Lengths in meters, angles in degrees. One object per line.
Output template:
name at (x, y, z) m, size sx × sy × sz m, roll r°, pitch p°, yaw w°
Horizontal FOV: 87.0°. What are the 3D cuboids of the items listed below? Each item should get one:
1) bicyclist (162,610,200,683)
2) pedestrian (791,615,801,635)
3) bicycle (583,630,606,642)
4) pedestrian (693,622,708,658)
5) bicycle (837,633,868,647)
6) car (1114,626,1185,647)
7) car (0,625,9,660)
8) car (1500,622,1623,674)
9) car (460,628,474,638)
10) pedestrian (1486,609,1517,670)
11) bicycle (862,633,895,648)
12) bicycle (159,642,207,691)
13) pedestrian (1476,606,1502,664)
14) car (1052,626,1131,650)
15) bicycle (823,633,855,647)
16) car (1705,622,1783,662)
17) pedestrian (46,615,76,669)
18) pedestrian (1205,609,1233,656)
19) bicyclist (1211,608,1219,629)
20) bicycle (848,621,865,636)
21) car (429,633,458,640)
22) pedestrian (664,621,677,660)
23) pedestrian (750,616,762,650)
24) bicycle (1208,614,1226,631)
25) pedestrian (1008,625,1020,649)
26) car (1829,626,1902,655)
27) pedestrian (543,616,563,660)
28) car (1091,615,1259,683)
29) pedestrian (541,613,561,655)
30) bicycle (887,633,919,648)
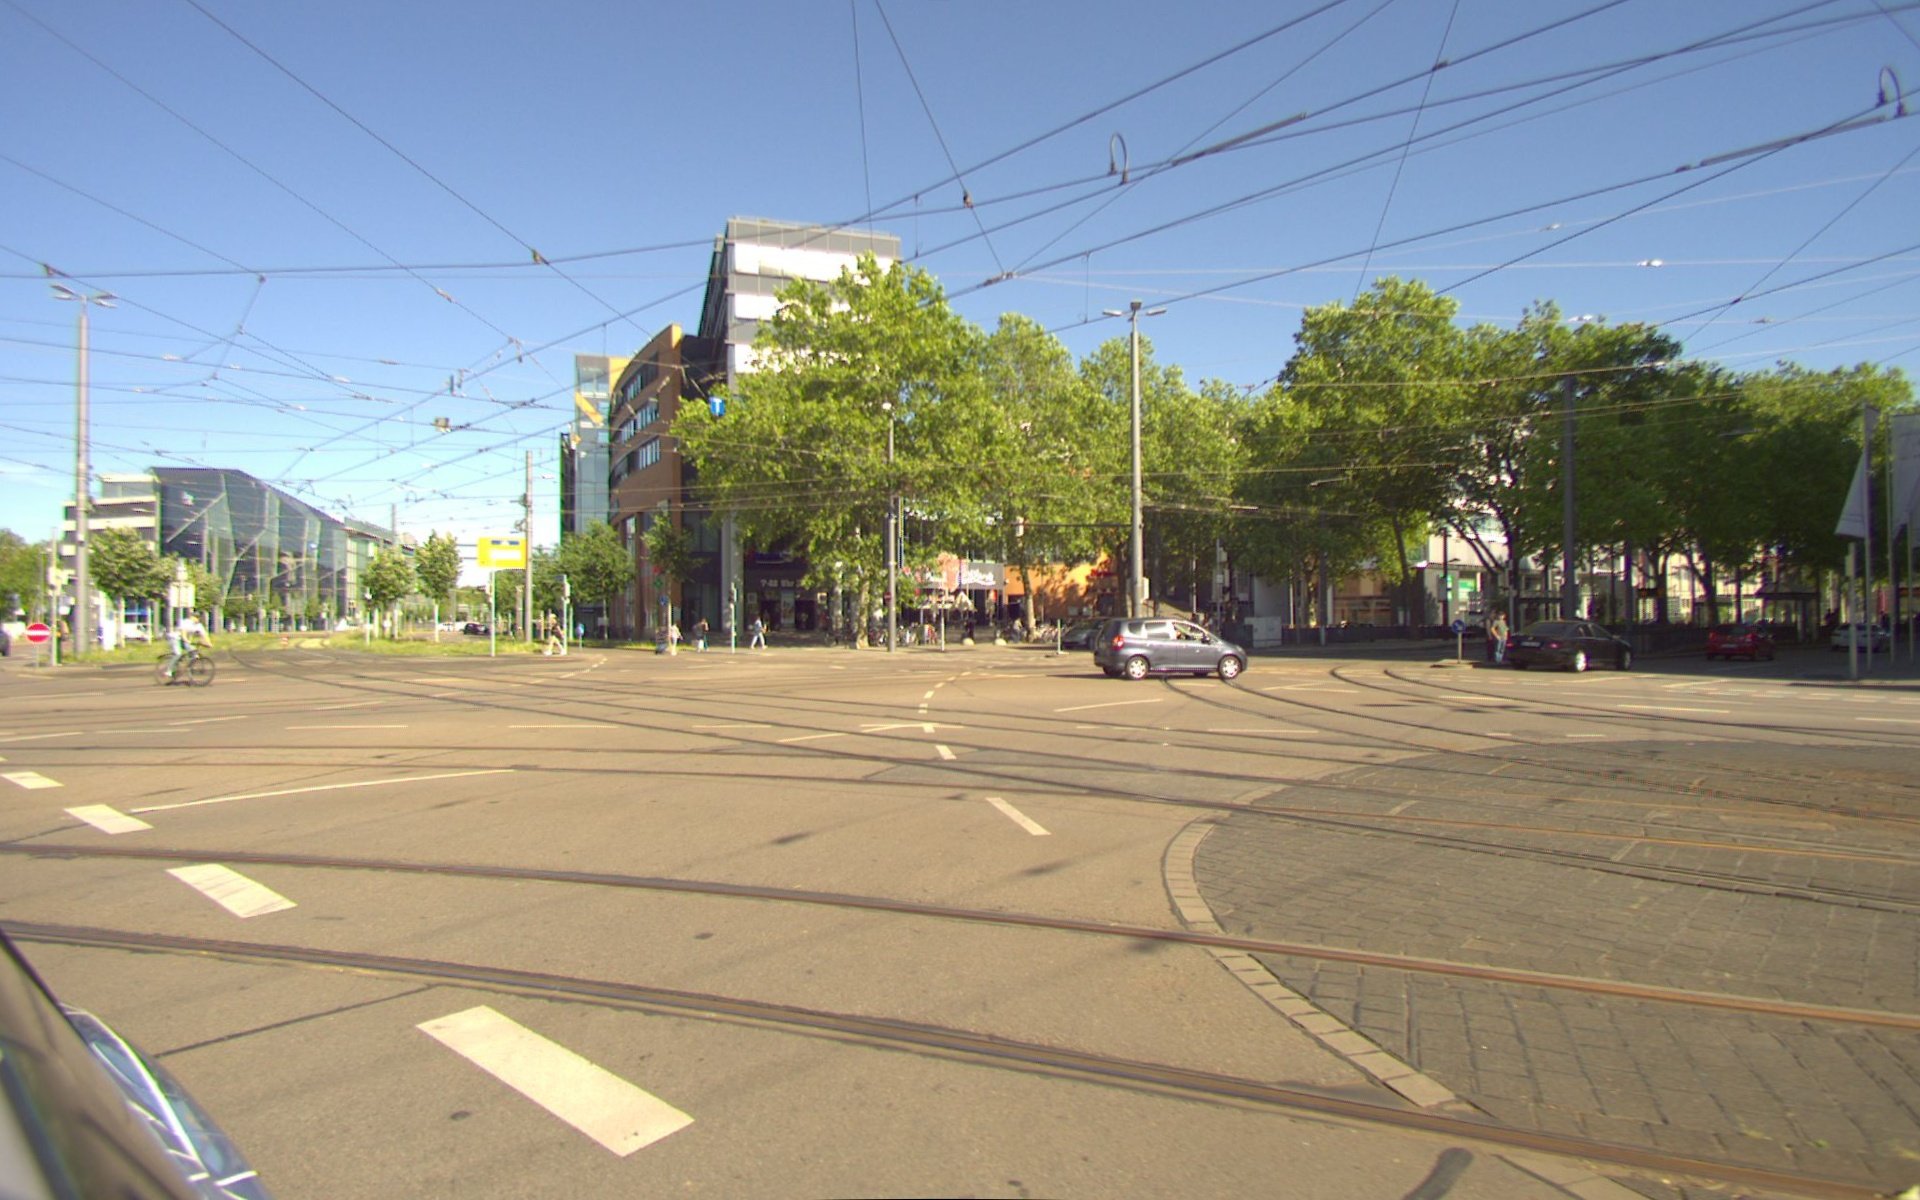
bicyclist at (-18.674, 1.111, 24.262) m, size 0.610 × 1.682 × 1.021 m, roll -1°, pitch -1°, yaw -43°
pedestrian at (-13.156, 1.988, 81.299) m, size 0.499 × 1.636 × 0.790 m, roll 0°, pitch -1°, yaw -34°
bicycle at (-37.222, 3.695, 103.016) m, size 2.142 × 1.132 × 0.756 m, roll -1°, pitch -1°, yaw -25°
pedestrian at (-13.590, 2.080, 52.998) m, size 0.494 × 1.845 × 0.579 m, roll -1°, pitch -2°, yaw 18°
bicycle at (-6.171, 2.306, 58.220) m, size 2.000 × 0.805 × 0.376 m, roll 1°, pitch -2°, yaw -43°
car at (11.046, 2.091, 58.848) m, size 3.934 × 1.152 × 1.786 m, roll 0°, pitch -2°, yaw -35°
car at (-43.594, 1.898, 44.529) m, size 1.843 × 1.568 × 4.011 m, roll 1°, pitch -2°, yaw -33°
car at (17.963, 1.385, 30.146) m, size 4.449 × 1.460 × 1.735 m, roll 1°, pitch -2°, yaw -40°
car at (-67.583, 4.554, 138.712) m, size 1.408 × 1.370 × 3.305 m, roll 0°, pitch -2°, yaw -31°
pedestrian at (17.512, 1.265, 32.719) m, size 0.751 × 1.947 × 0.517 m, roll -2°, pitch -3°, yaw 43°
bicycle at (-4.521, 2.245, 56.367) m, size 2.000 × 0.805 × 0.376 m, roll 1°, pitch -2°, yaw -43°
bicycle at (-18.543, 1.551, 24.127) m, size 0.678 × 1.078 × 2.700 m, roll -1°, pitch -1°, yaw -42°
pedestrian at (17.868, 1.177, 34.187) m, size 0.515 × 1.947 × 0.530 m, roll 0°, pitch -2°, yaw -20°
car at (7.141, 2.058, 55.035) m, size 3.934 × 1.240 × 2.005 m, roll 0°, pitch -2°, yaw -35°
bicycle at (-7.022, 2.331, 58.888) m, size 2.000 × 0.805 × 0.376 m, roll 1°, pitch -2°, yaw -43°
car at (30.641, 1.610, 39.541) m, size 3.528 × 1.460 × 1.661 m, roll 1°, pitch -2°, yaw -40°
pedestrian at (-30.000, 1.391, 33.775) m, size 0.769 × 1.766 × 0.662 m, roll -2°, pitch -3°, yaw 43°
pedestrian at (10.880, 1.375, 42.555) m, size 0.905 × 1.947 × 0.693 m, roll -2°, pitch -3°, yaw 43°
bicyclist at (21.261, 1.582, 84.444) m, size 0.466 × 1.734 × 0.478 m, roll -2°, pitch -2°, yaw 42°
bicycle at (-7.922, 2.206, 77.202) m, size 0.486 × 1.143 × 1.808 m, roll 1°, pitch -2°, yaw -35°
car at (-81.181, 5.752, 159.105) m, size 3.930 × 1.098 × 2.006 m, roll 0°, pitch -2°, yaw -24°
pedestrian at (-13.776, 1.941, 48.239) m, size 0.461 × 1.845 × 0.383 m, roll -2°, pitch -2°, yaw 25°
pedestrian at (-11.150, 1.798, 55.390) m, size 0.455 × 1.845 × 0.459 m, roll -1°, pitch -2°, yaw 18°
bicycle at (21.504, 1.866, 84.691) m, size 0.466 × 1.363 × 2.339 m, roll -2°, pitch -2°, yaw 42°
pedestrian at (3.300, 2.251, 61.945) m, size 0.638 × 1.463 × 0.502 m, roll 0°, pitch -2°, yaw -8°
car at (45.177, 1.981, 50.455) m, size 4.342 × 1.392 × 2.070 m, roll 1°, pitch -2°, yaw -39°
pedestrian at (-17.567, 1.639, 43.692) m, size 0.750 × 1.845 × 0.626 m, roll 0°, pitch -2°, yaw -25°
car at (5.243, 1.187, 24.914) m, size 3.616 × 1.576 × 1.736 m, roll 0°, pitch -2°, yaw -13°
pedestrian at (-18.334, 1.534, 45.371) m, size 0.750 × 1.845 × 0.626 m, roll 0°, pitch -2°, yaw -29°
bicycle at (-3.144, 2.211, 55.780) m, size 2.000 × 0.805 × 0.376 m, roll 1°, pitch -2°, yaw -43°
